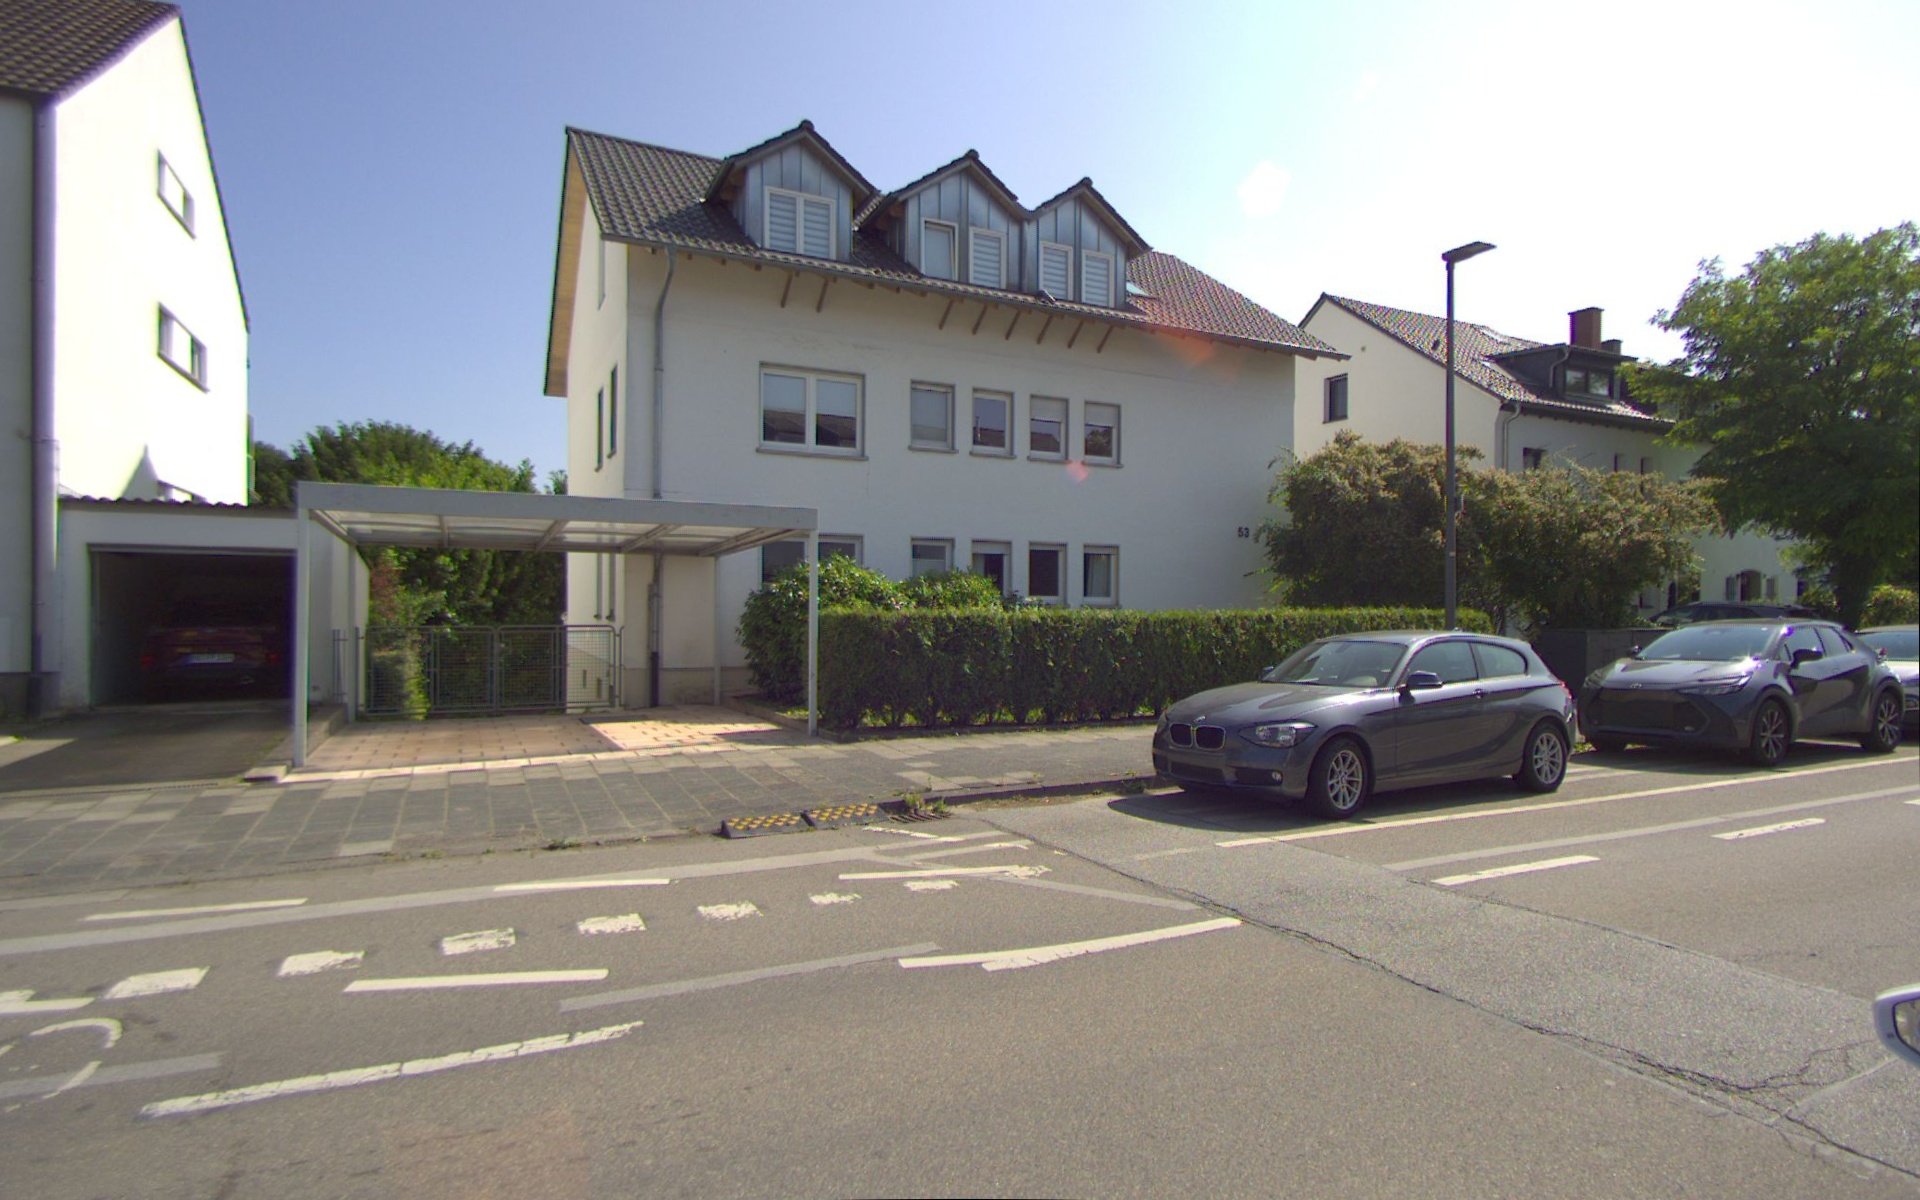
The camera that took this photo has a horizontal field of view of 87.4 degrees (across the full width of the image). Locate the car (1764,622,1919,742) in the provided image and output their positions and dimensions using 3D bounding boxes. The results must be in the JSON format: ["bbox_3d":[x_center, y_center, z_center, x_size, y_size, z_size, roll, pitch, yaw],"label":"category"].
[{"bbox_3d":[13.341,1.049,14.060,3.947,1.459,1.779,1,0,-26],"label":"car"}]

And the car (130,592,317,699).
[{"bbox_3d":[-11.280,0.625,15.664,1.878,1.434,3.968,1,0,-30],"label":"car"}]

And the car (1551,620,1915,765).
[{"bbox_3d":[9.100,0.979,11.810,4.055,1.459,1.780,1,-1,-26],"label":"car"}]

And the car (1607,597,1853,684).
[{"bbox_3d":[17.316,0.829,22.806,1.973,1.783,3.974,0,0,-25],"label":"car"}]

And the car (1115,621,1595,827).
[{"bbox_3d":[3.555,0.930,8.916,4.104,1.459,1.778,1,-2,-29],"label":"car"}]
